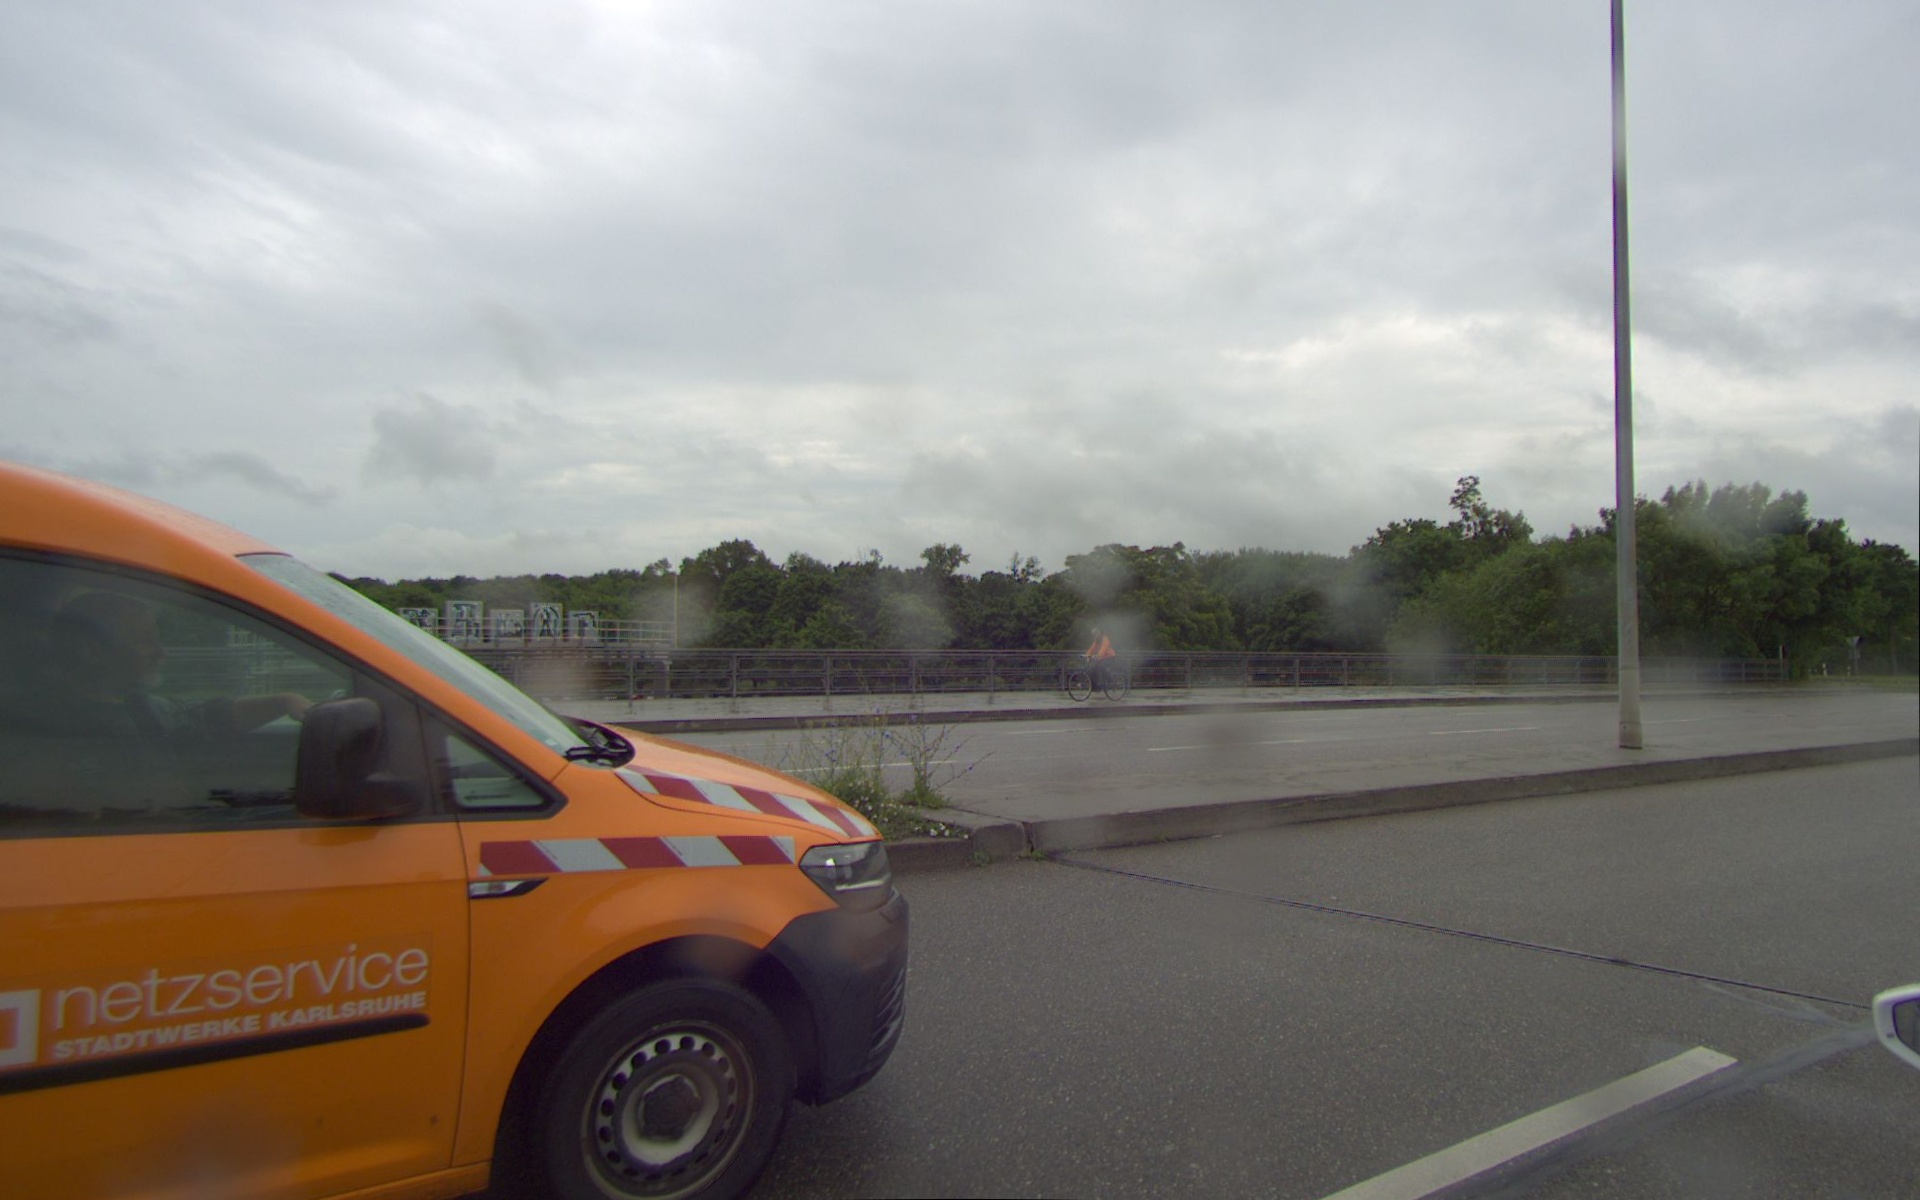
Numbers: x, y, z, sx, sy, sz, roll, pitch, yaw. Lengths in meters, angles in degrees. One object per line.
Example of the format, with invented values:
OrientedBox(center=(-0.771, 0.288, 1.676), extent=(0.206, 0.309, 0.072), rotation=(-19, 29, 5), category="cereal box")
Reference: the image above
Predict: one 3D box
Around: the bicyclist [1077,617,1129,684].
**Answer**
OrientedBox(center=(3.341, 1.177, 23.498), extent=(0.991, 1.520, 0.616), rotation=(2, -1, -30), category="bicyclist")

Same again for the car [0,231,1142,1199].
OrientedBox(center=(-2.002, 0.413, 2.420), extent=(4.793, 2.045, 1.726), rotation=(3, -1, -30), category="car")

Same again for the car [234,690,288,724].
OrientedBox(center=(-68.468, 10.445, 98.323), extent=(5.719, 2.807, 2.725), rotation=(0, -1, 38), category="car")

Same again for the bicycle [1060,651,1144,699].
OrientedBox(center=(3.322, 1.743, 23.493), extent=(1.978, 1.047, 0.606), rotation=(2, -1, -31), category="bicycle")
